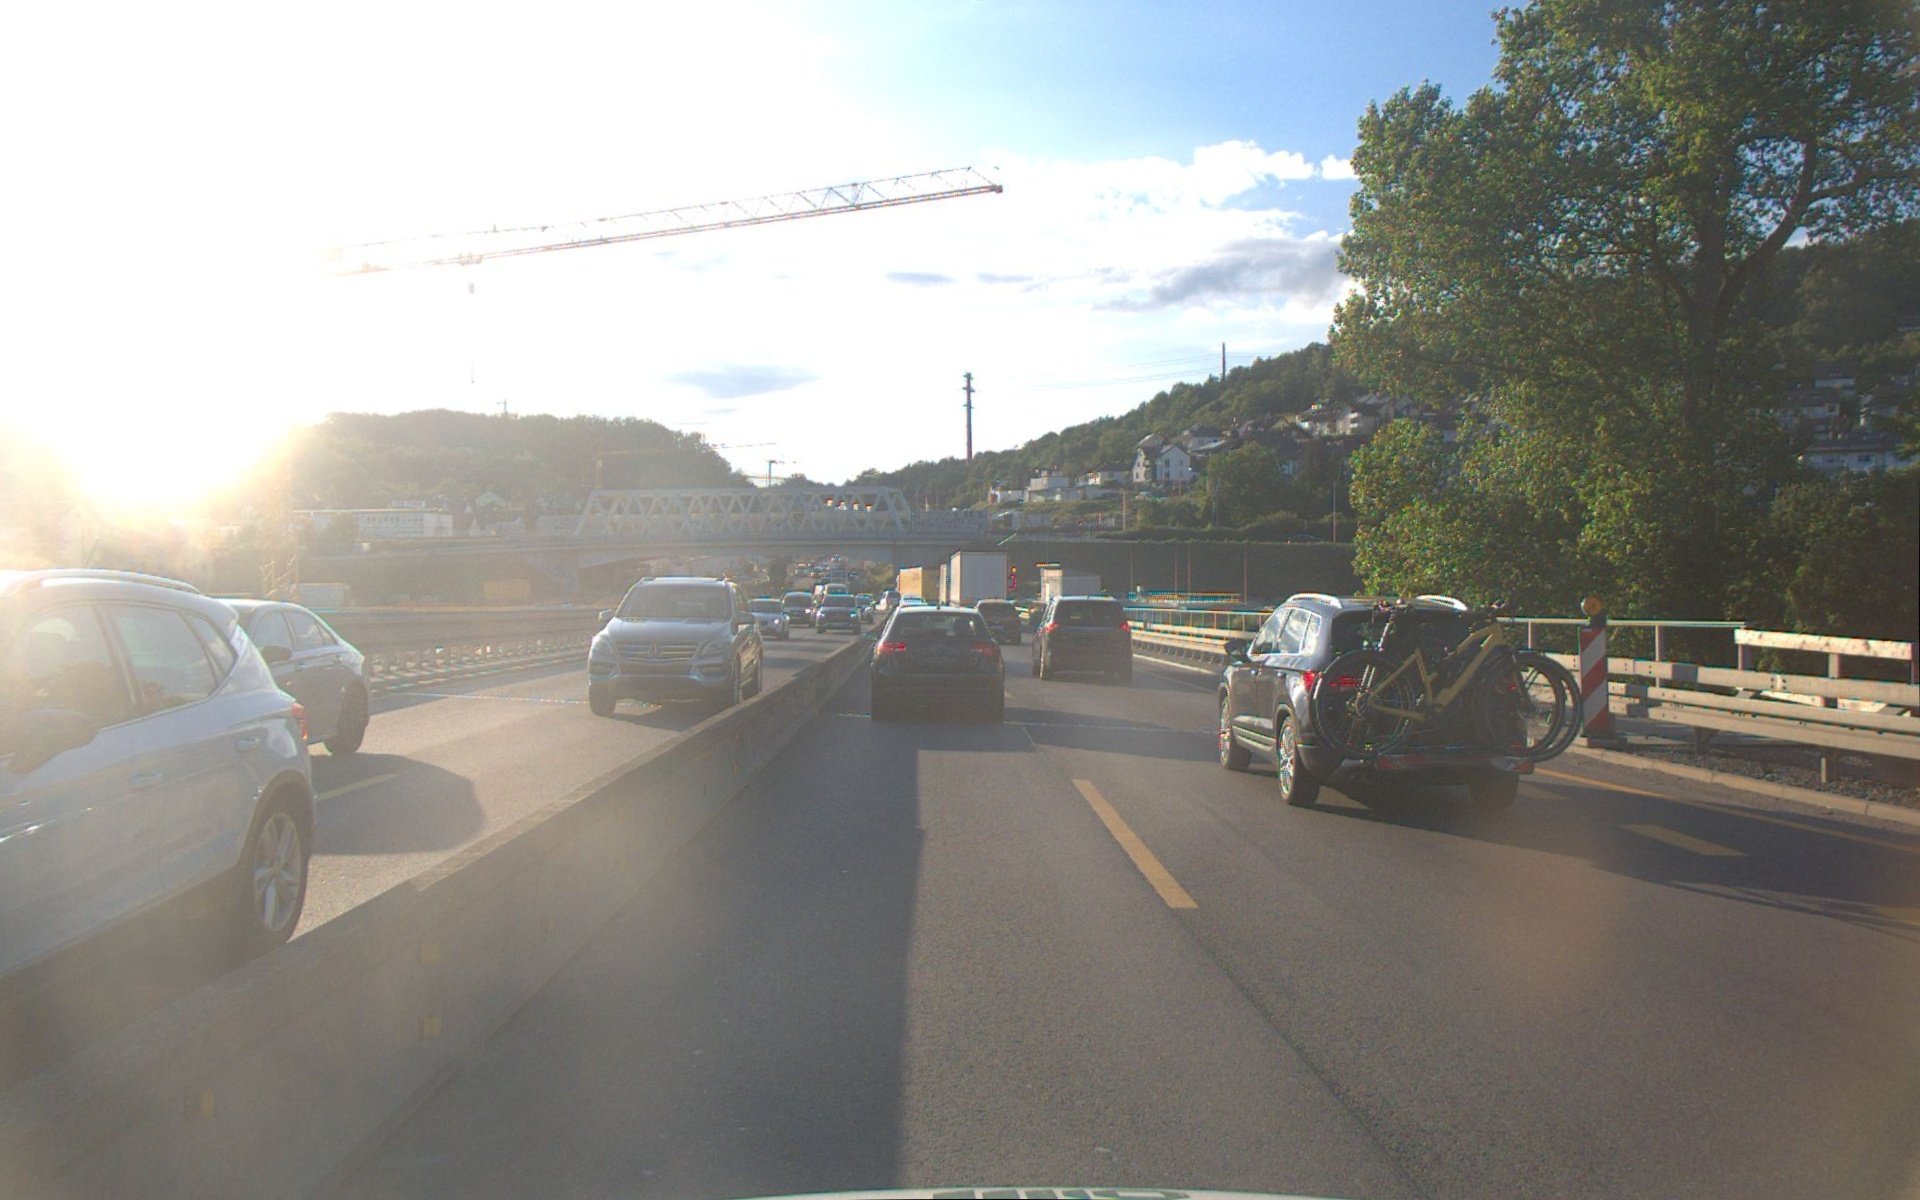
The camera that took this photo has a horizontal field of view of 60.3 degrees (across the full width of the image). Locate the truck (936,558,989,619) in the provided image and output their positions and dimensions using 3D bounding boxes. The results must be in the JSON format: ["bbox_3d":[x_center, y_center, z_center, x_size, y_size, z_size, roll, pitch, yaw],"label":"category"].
[{"bbox_3d":[0.083,-1.036,132.535,3.812,4.576,15.264,1,1,-1],"label":"truck"}]

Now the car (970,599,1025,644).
[{"bbox_3d":[1.367,0.785,62.164,1.735,1.580,3.998,2,0,-3],"label":"car"}]

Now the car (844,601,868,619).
[{"bbox_3d":[-9.707,0.944,154.462,1.955,1.557,5.774,1,0,-6],"label":"car"}]

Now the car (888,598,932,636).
[{"bbox_3d":[-2.152,0.693,70.331,1.730,1.512,3.997,2,0,-4],"label":"car"}]

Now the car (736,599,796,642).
[{"bbox_3d":[-7.567,0.784,64.748,1.890,1.573,4.287,1,0,-1],"label":"car"}]

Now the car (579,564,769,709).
[{"bbox_3d":[-3.831,0.452,22.945,1.953,1.789,4.659,1,0,-2],"label":"car"}]

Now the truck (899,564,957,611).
[{"bbox_3d":[-3.408,-1.392,170.759,3.820,4.576,13.816,1,1,-10],"label":"truck"}]

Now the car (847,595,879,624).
[{"bbox_3d":[-5.901,0.568,100.168,1.802,1.668,3.996,-1,0,-5],"label":"car"}]

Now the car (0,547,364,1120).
[{"bbox_3d":[-3.483,0.610,5.329,1.768,1.538,3.999,0,1,-2],"label":"car"}]

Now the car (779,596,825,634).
[{"bbox_3d":[-8.435,0.790,88.590,1.953,1.888,4.282,3,0,0],"label":"car"}]

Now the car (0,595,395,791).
[{"bbox_3d":[-6.440,0.685,14.159,1.738,1.406,4.531,0,0,-1],"label":"car"}]

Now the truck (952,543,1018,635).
[{"bbox_3d":[1.247,-0.835,92.418,3.316,4.576,15.269,1,2,0],"label":"truck"}]

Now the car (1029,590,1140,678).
[{"bbox_3d":[2.475,0.634,33.829,1.778,1.661,4.409,1,0,-2],"label":"car"}]

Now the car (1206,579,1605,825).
[{"bbox_3d":[3.336,0.678,13.488,1.837,1.627,4.964,0,0,-1],"label":"car"}]

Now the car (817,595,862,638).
[{"bbox_3d":[-5.493,0.744,75.976,1.891,1.784,4.670,3,0,-3],"label":"car"}]

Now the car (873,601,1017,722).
[{"bbox_3d":[-0.283,0.748,22.156,1.734,1.414,3.998,1,0,-3],"label":"car"}]
